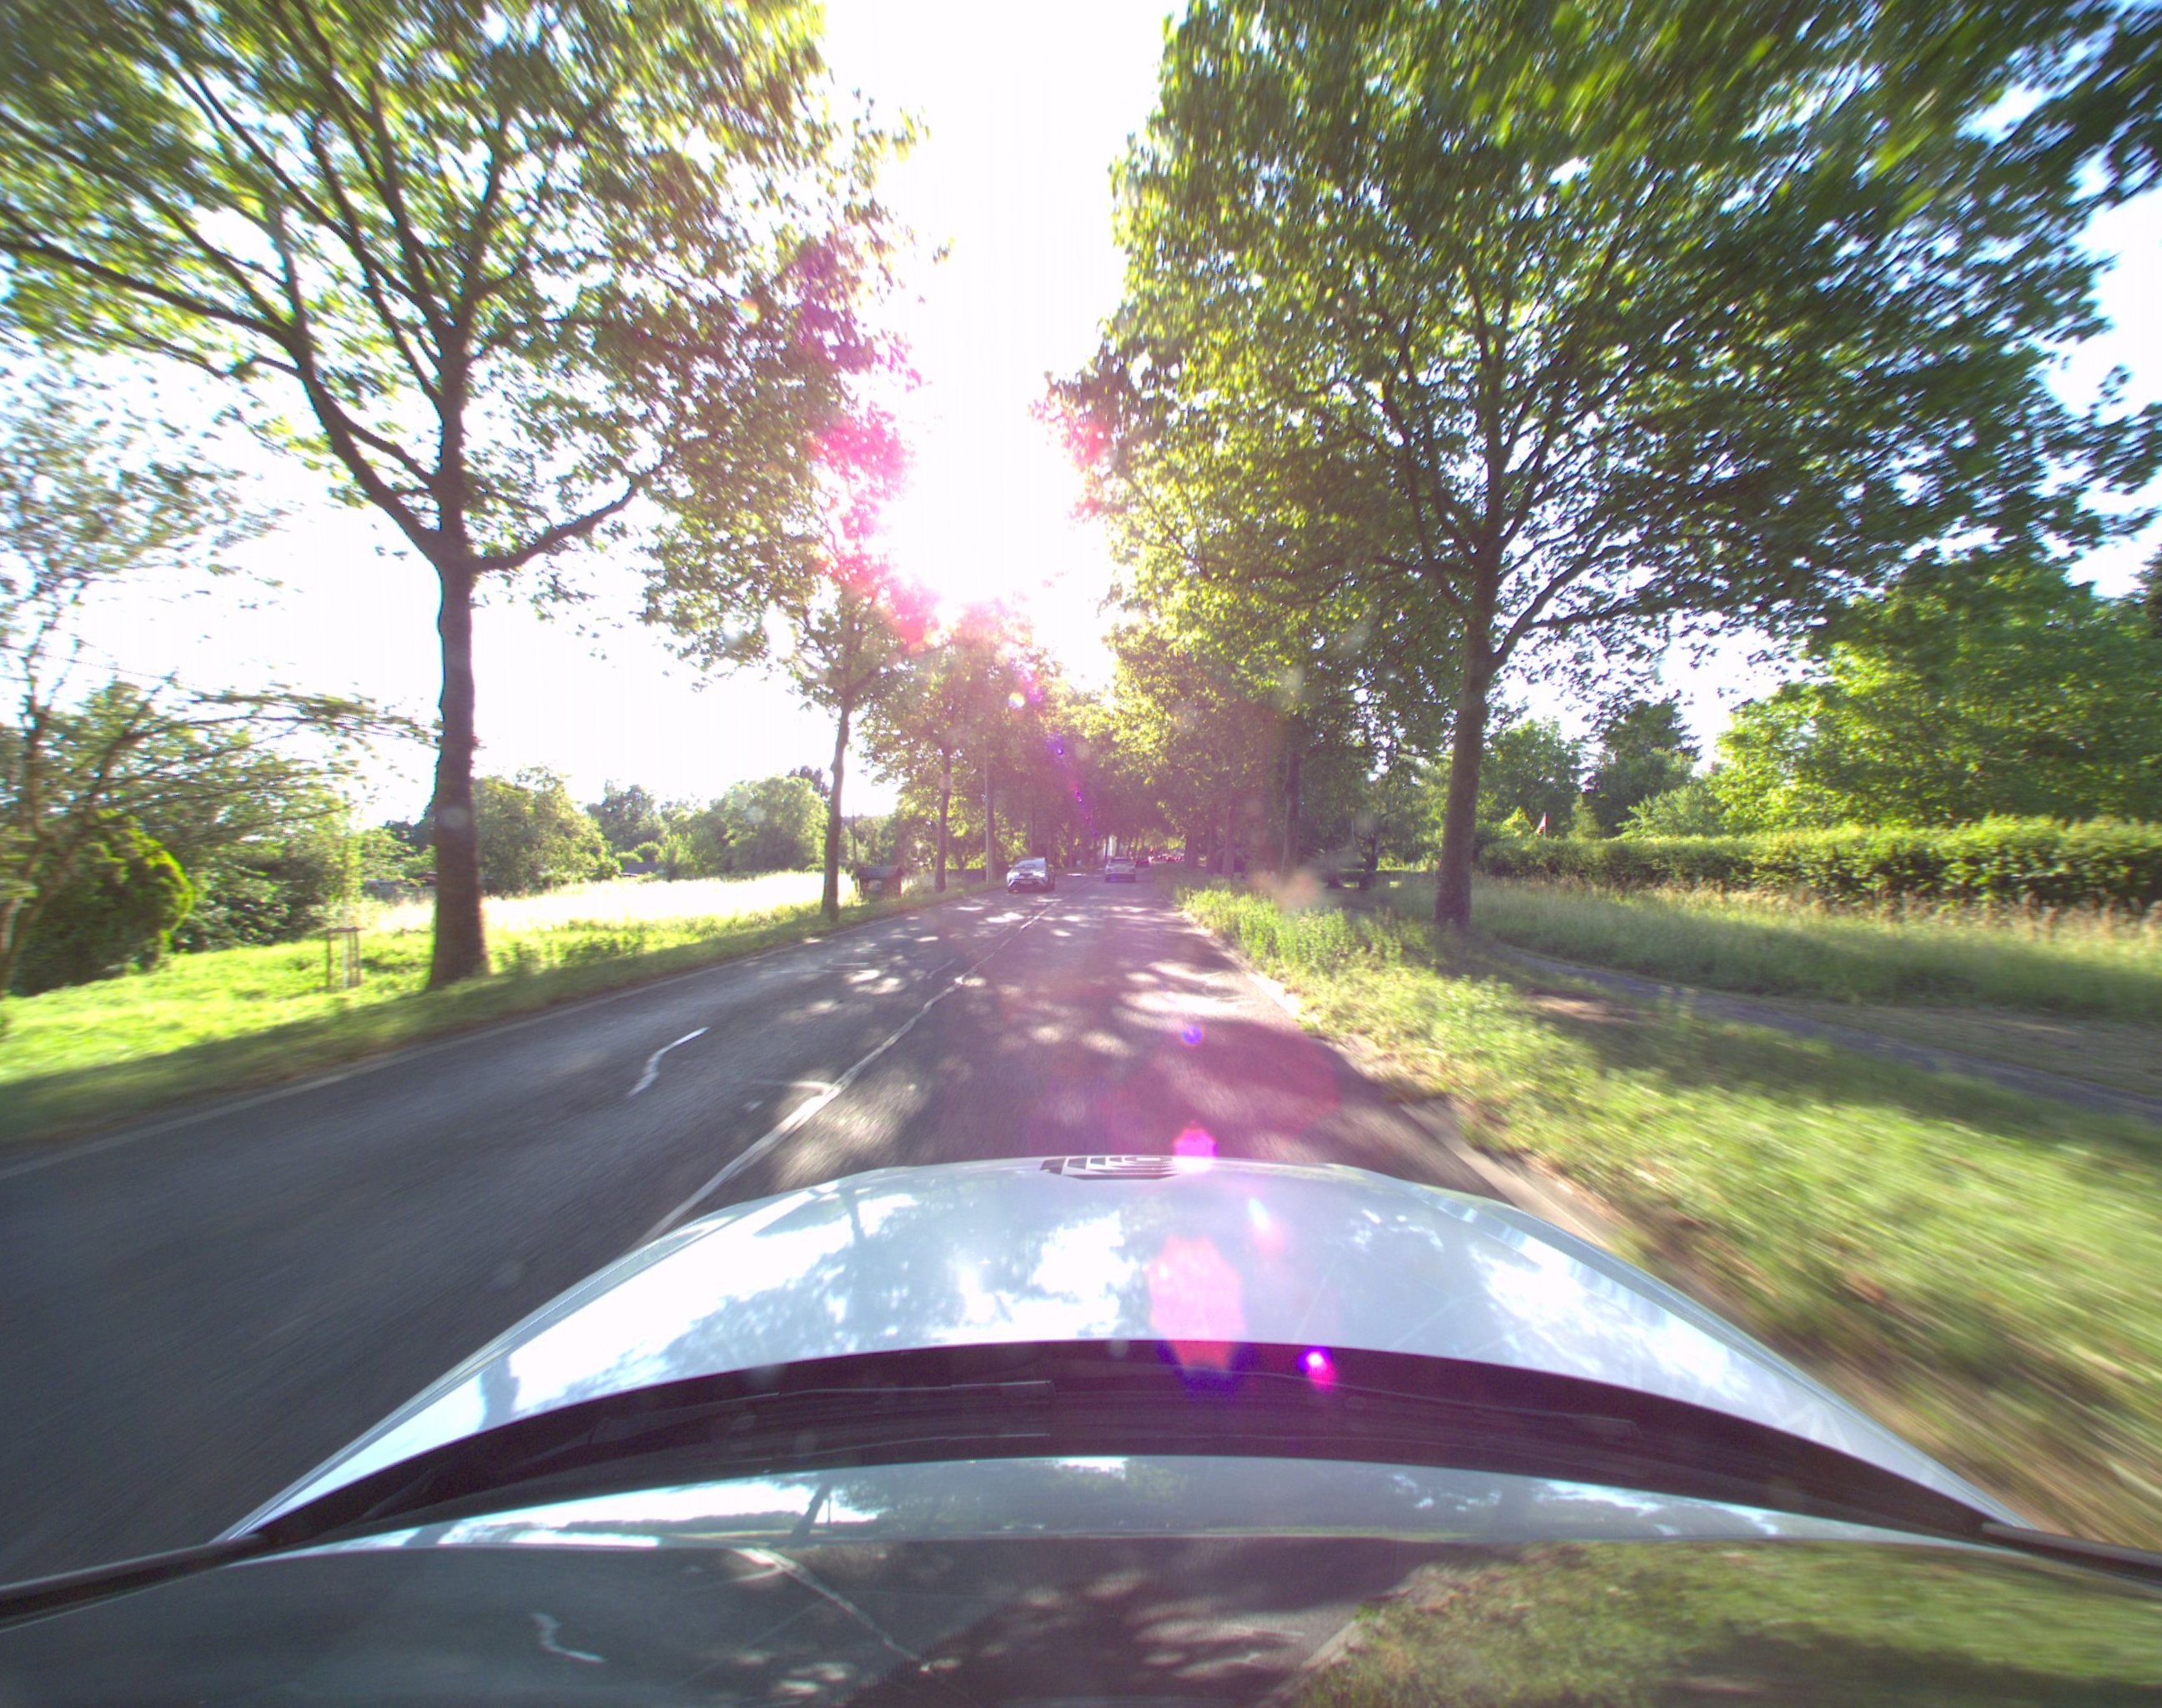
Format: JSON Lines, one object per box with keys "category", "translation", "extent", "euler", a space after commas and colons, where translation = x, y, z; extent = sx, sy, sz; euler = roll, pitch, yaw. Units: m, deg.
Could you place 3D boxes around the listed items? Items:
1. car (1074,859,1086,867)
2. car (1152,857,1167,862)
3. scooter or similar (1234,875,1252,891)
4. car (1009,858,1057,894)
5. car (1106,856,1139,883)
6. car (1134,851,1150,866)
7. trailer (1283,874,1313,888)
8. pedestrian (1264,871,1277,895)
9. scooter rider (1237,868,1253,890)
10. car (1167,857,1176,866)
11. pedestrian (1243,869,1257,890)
{"category": "car", "translation": [-0.211, 1.639, 144.255], "extent": [1.743, 1.304, 4.006], "euler": [-2, 0, 5]}
{"category": "car", "translation": [22.021, 1.469, 228.284], "extent": [3.961, 1.478, 2.006], "euler": [0, -1, 11]}
{"category": "scooter or similar", "translation": [11.639, 2.070, 58.443], "extent": [1.608, 1.135, 0.337], "euler": [1, -1, -41]}
{"category": "car", "translation": [-2.102, 0.971, 36.470], "extent": [1.708, 1.505, 4.002], "euler": [0, -1, 3]}
{"category": "car", "translation": [2.569, 0.931, 49.877], "extent": [1.985, 1.574, 4.004], "euler": [0, -1, 3]}
{"category": "car", "translation": [8.296, 0.684, 110.425], "extent": [1.984, 2.014, 4.005], "euler": [0, -1, 5]}
{"category": "trailer", "translation": [16.401, 2.036, 61.607], "extent": [2.105, 1.052, 1.203], "euler": [0, -1, 8]}
{"category": "pedestrian", "translation": [12.912, 1.973, 55.448], "extent": [0.836, 1.576, 1.211], "euler": [0, -1, 12]}
{"category": "scooter rider", "translation": [11.801, 1.806, 58.592], "extent": [0.849, 1.576, 0.775], "euler": [1, -1, -39]}
{"category": "car", "translation": [20.426, 1.687, 184.349], "extent": [1.983, 2.014, 4.007], "euler": [0, -1, 7]}
{"category": "pedestrian", "translation": [12.464, 1.865, 59.910], "extent": [0.774, 1.576, 0.850], "euler": [-1, -1, 30]}
